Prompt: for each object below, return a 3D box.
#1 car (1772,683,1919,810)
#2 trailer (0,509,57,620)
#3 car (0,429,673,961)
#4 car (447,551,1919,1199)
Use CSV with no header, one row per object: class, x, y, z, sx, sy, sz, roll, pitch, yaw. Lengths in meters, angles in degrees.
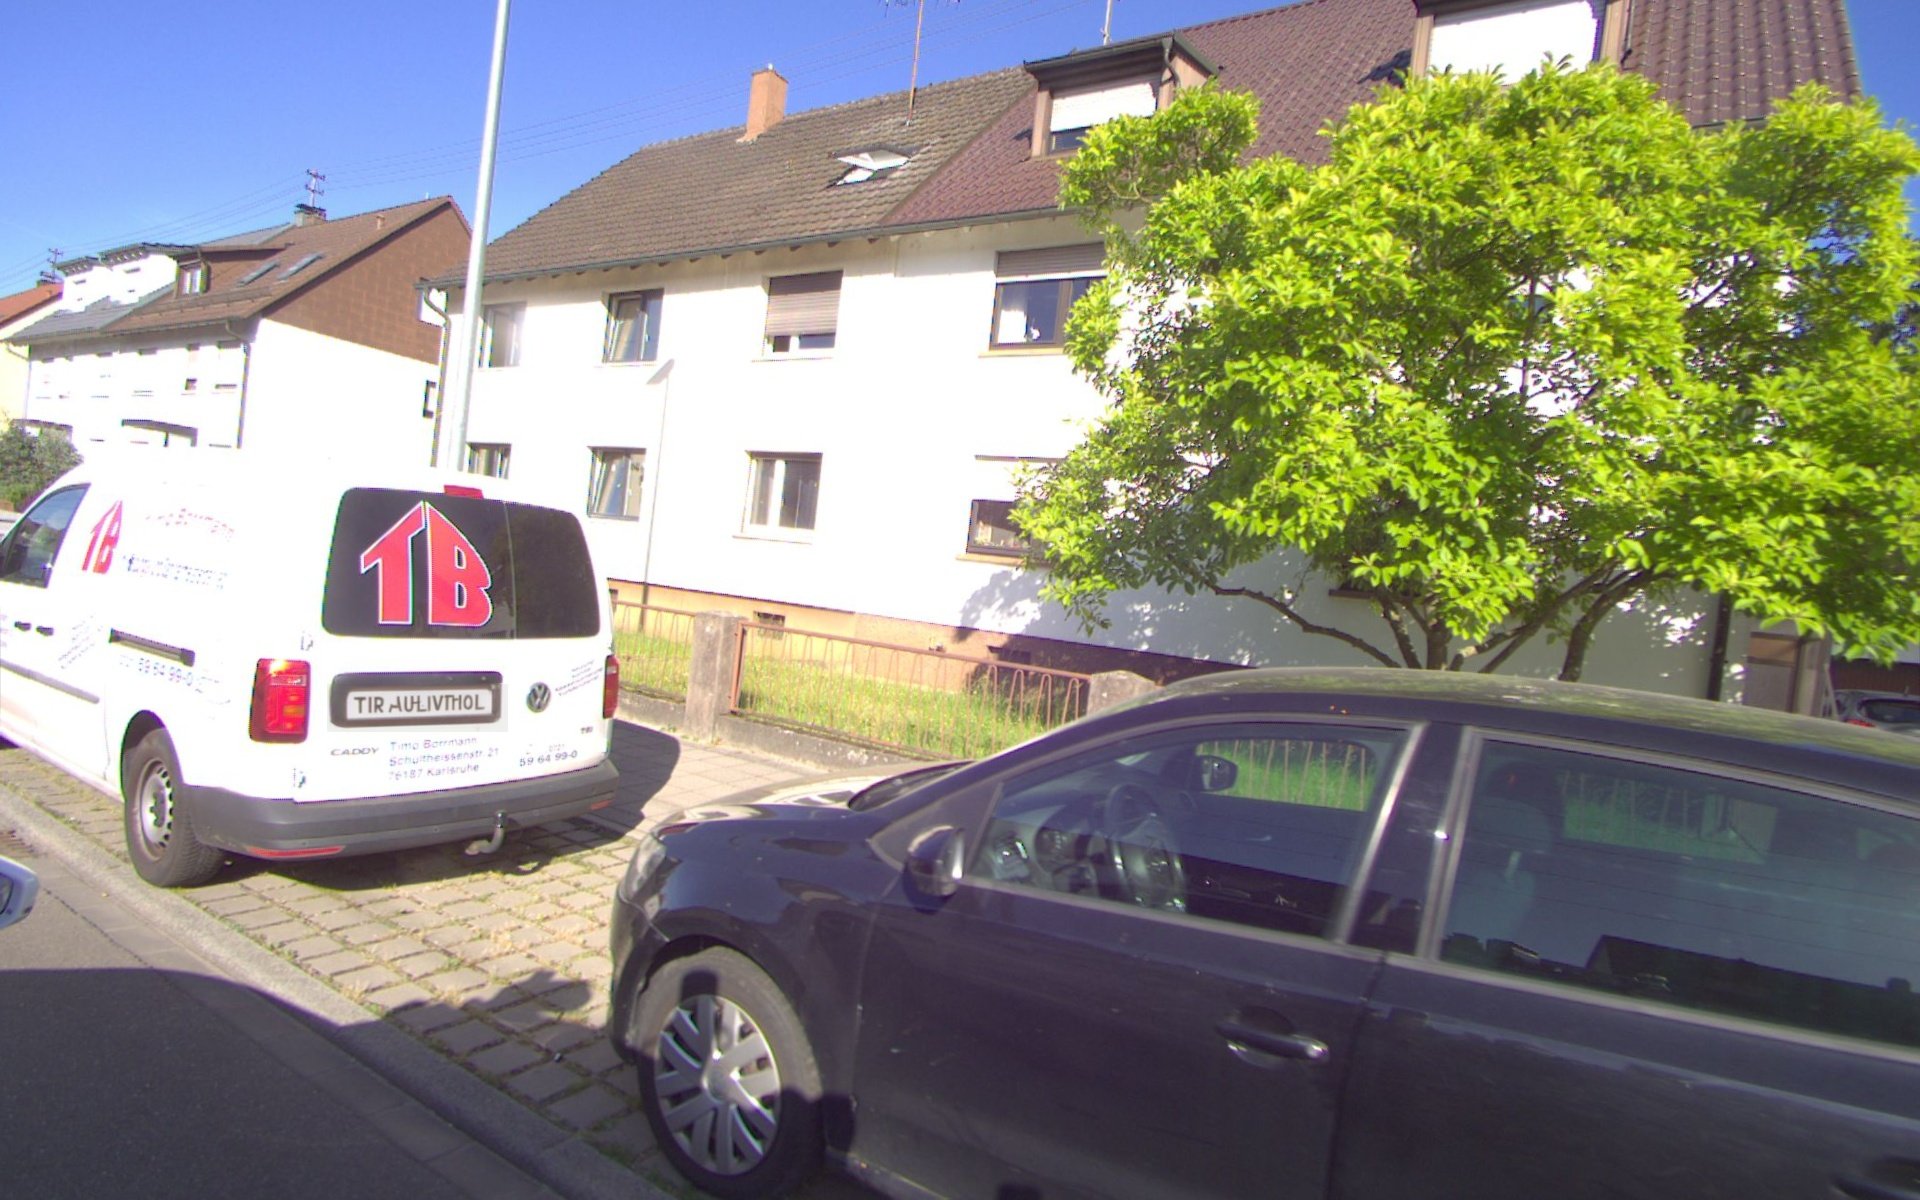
car,14.061,2.202,15.436,1.729,1.567,3.726,7,0,30
trailer,-12.186,-0.595,11.084,4.299,1.108,2.205,7,2,32
car,-3.836,0.164,5.405,4.579,1.799,1.691,7,1,33
car,0.705,0.832,2.555,4.058,1.471,1.672,7,1,33
